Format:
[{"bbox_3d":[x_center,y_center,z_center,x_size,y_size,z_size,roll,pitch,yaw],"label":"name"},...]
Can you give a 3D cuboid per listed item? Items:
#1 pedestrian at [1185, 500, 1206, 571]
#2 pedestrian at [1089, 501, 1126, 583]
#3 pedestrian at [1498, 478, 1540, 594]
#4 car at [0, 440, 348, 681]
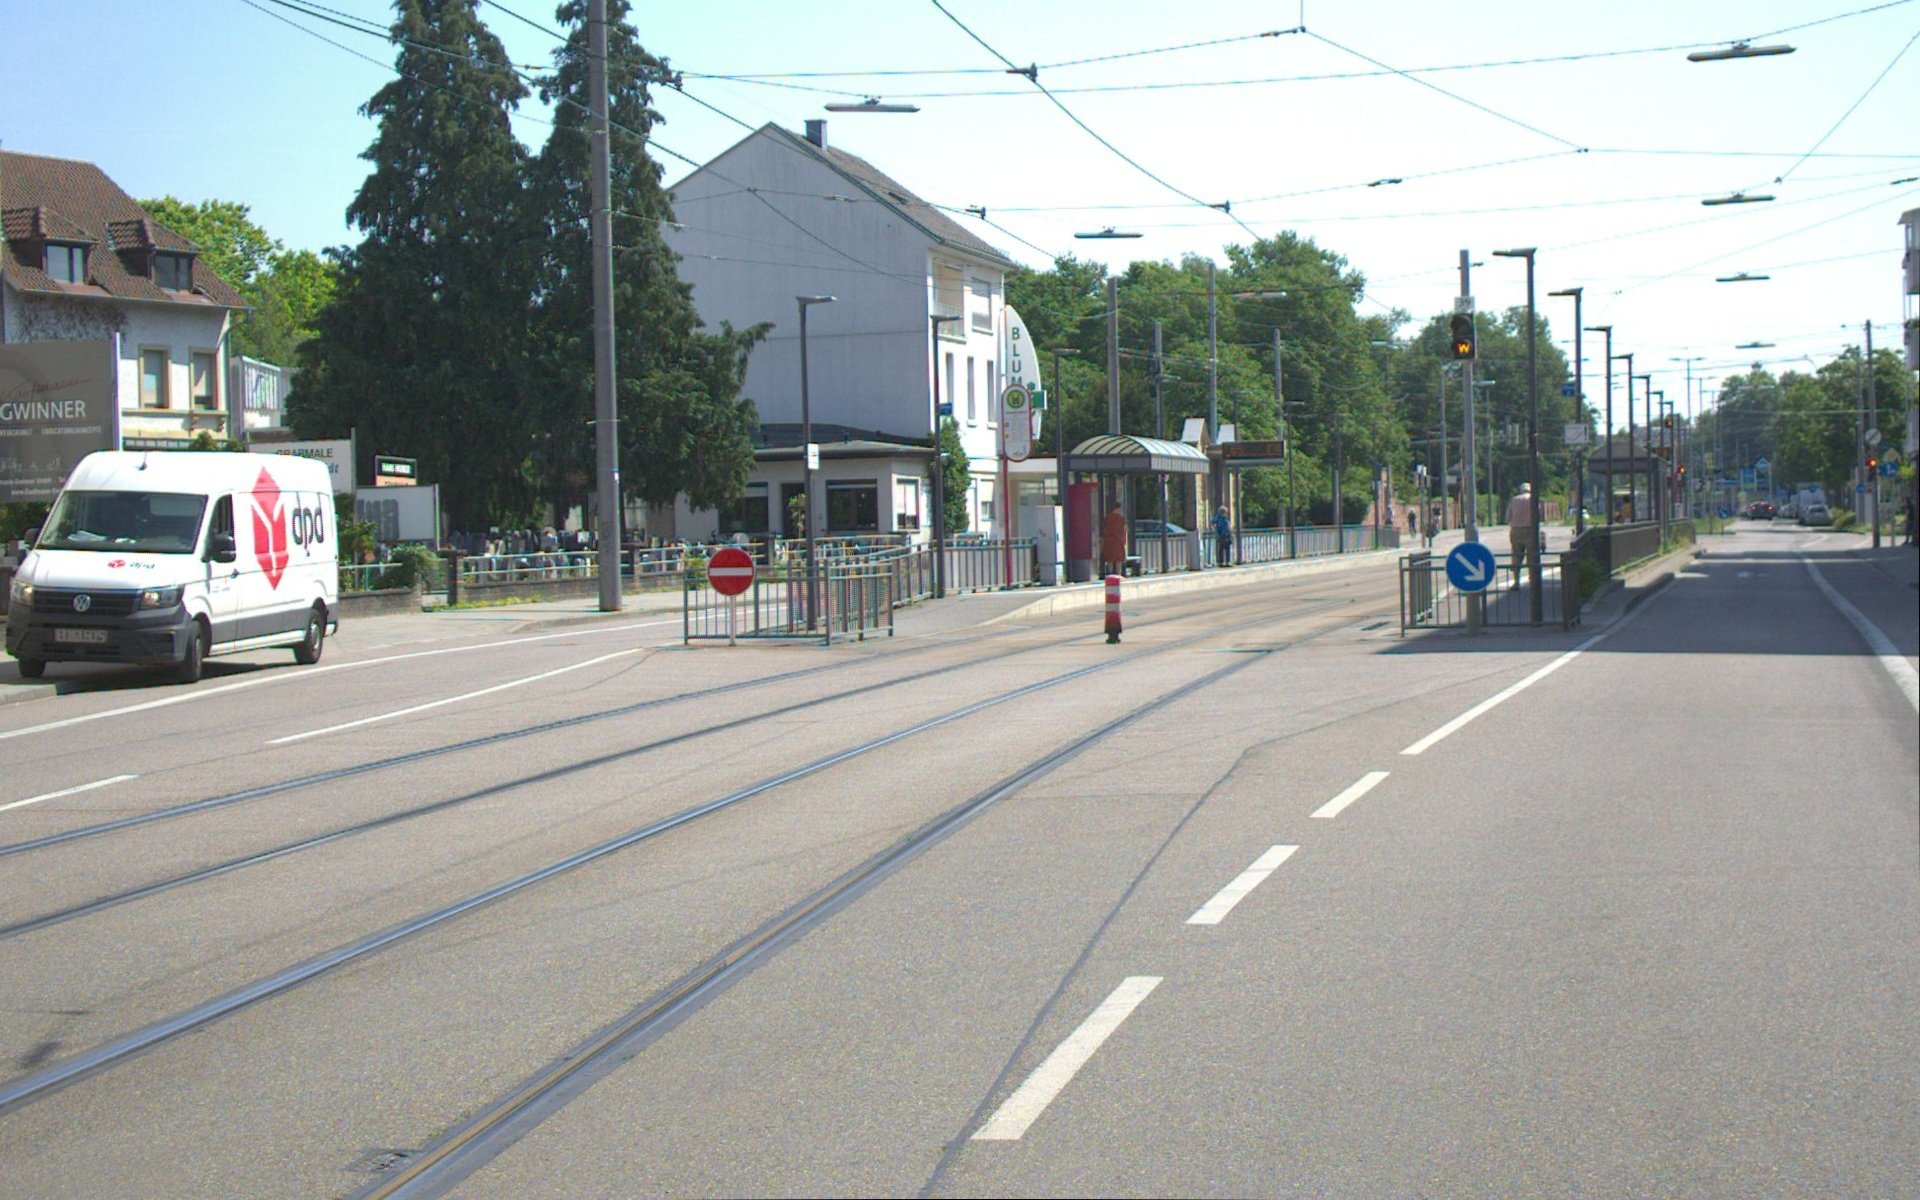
[{"bbox_3d":[5.629,-1.546,82.246,0.415,1.684,0.708,-1,1,-1],"label":"pedestrian"},{"bbox_3d":[3.074,-1.211,71.636,0.705,1.684,0.416,-1,1,5],"label":"pedestrian"},{"bbox_3d":[8.625,-0.989,53.088,0.556,1.754,0.793,-2,1,7],"label":"pedestrian"},{"bbox_3d":[-9.183,-0.512,39.754,2.330,2.527,6.505,1,2,7],"label":"car"}]
